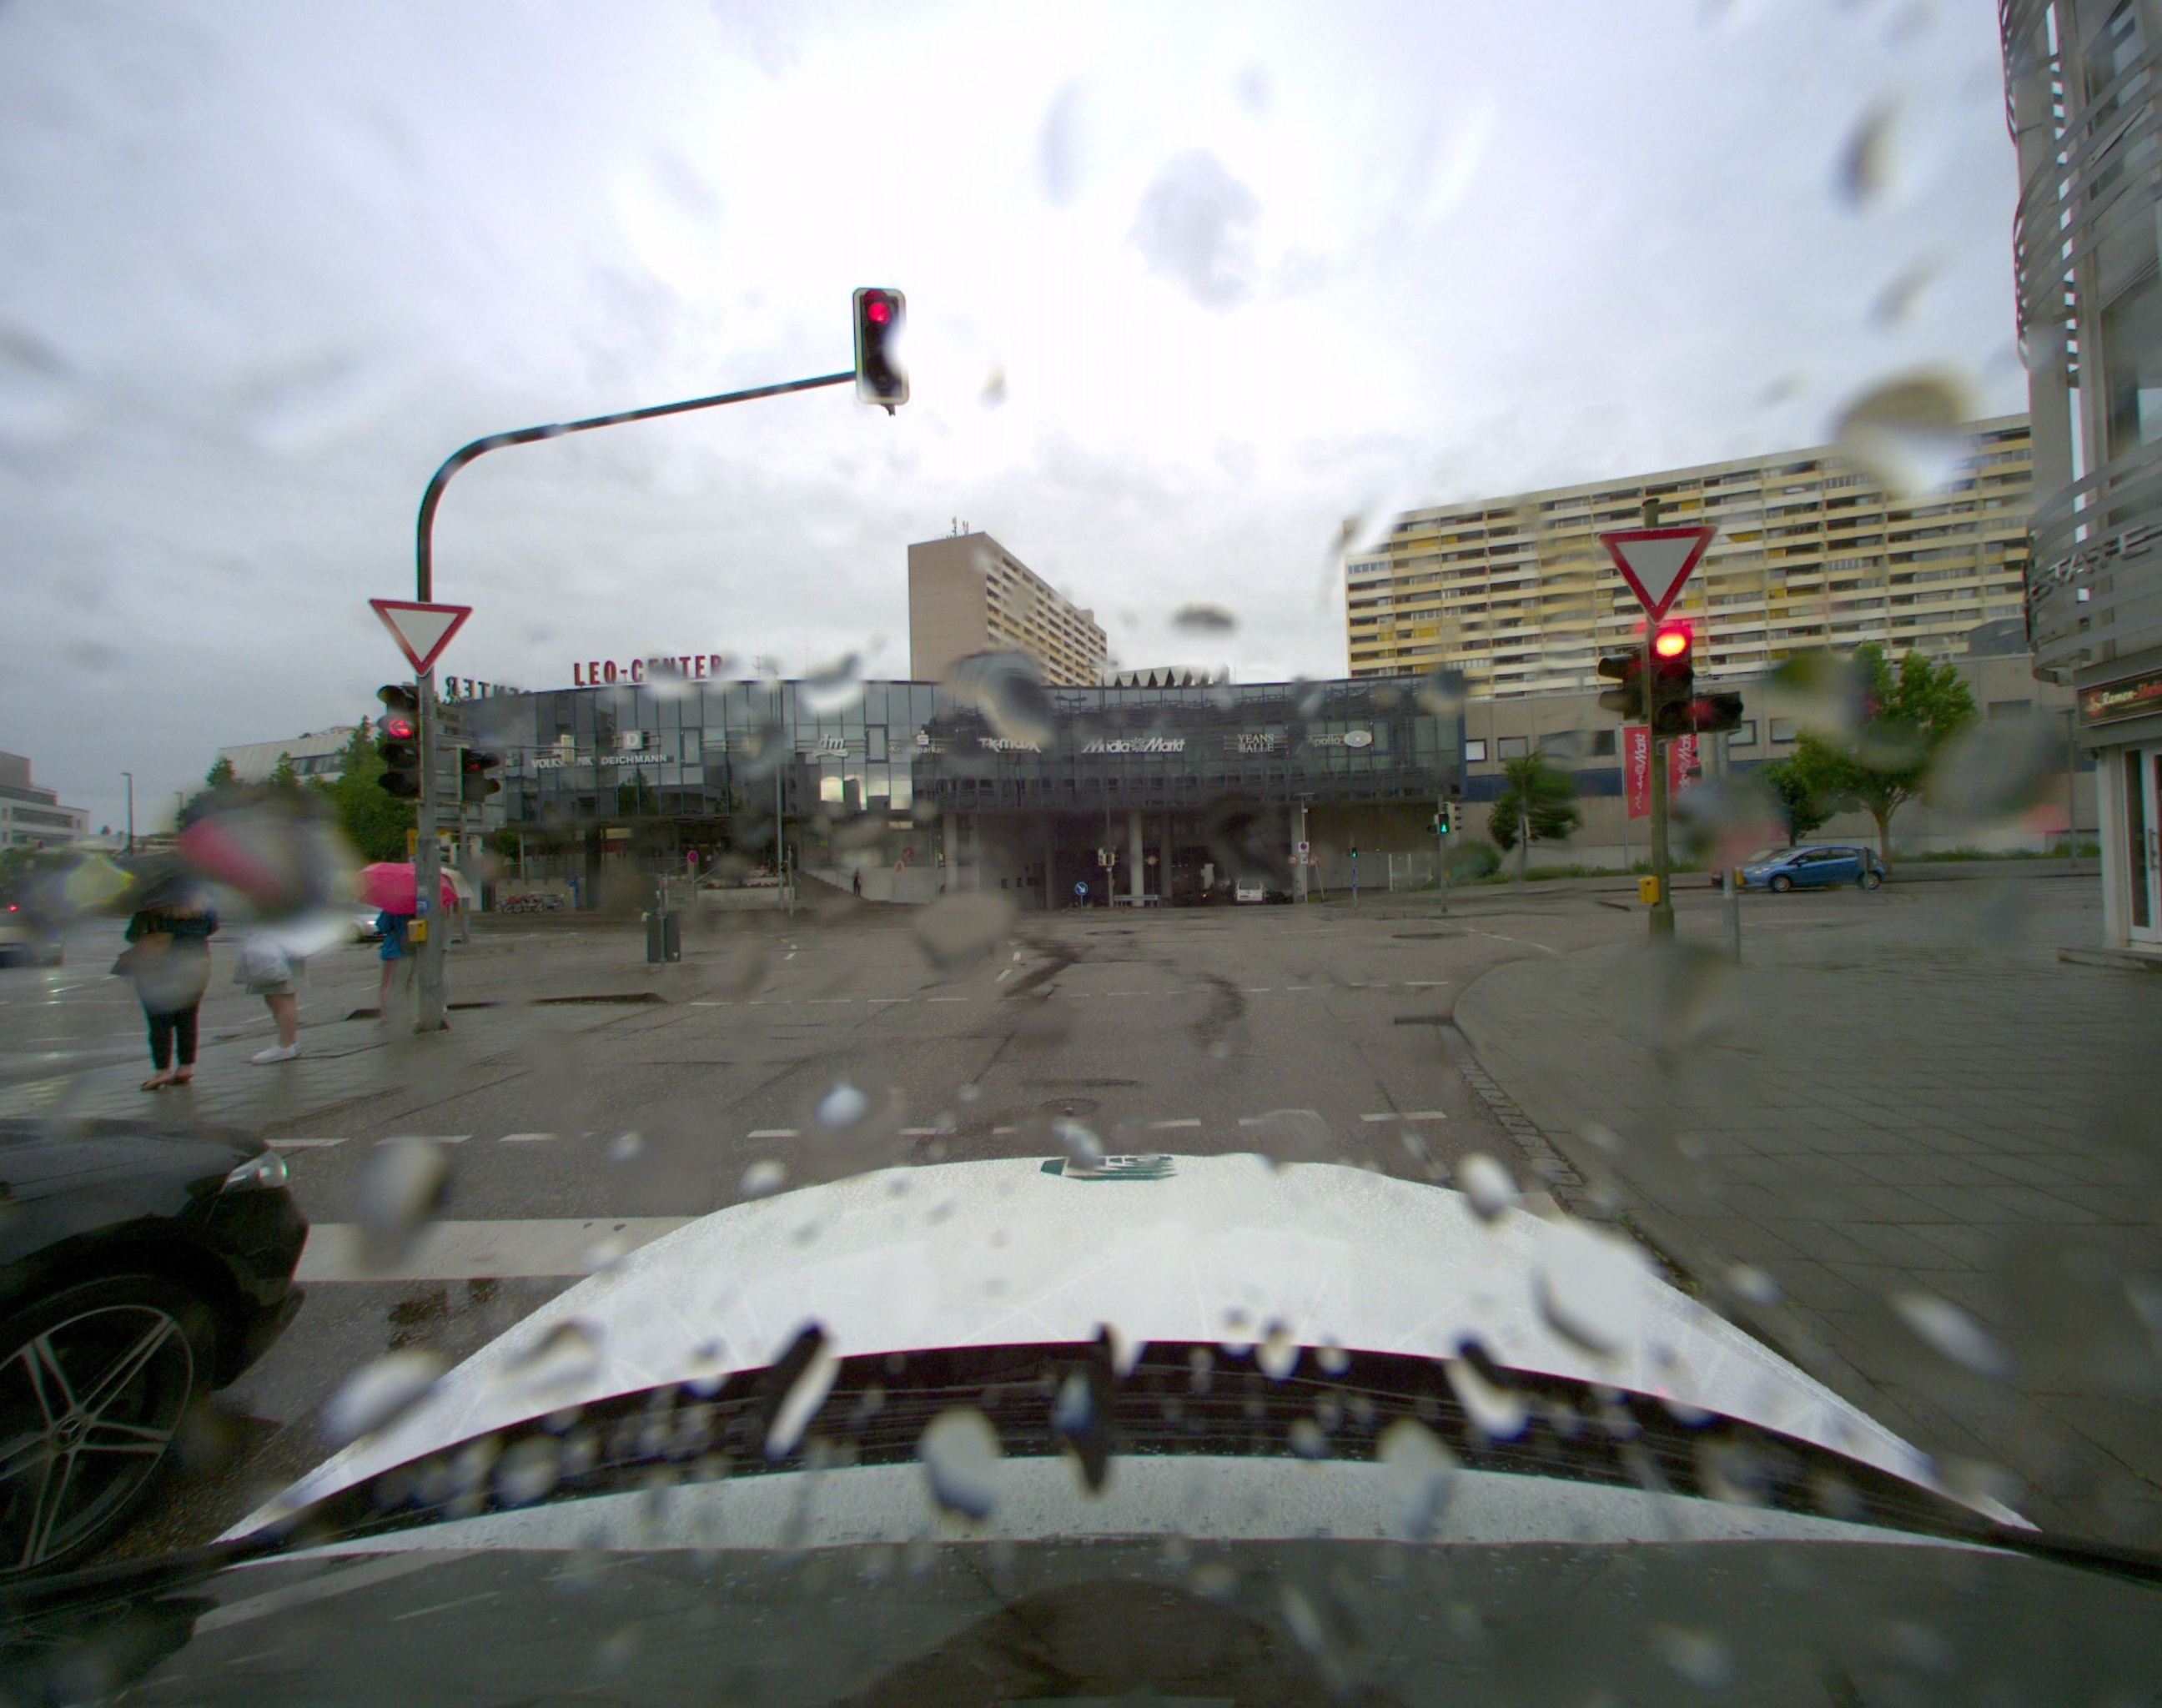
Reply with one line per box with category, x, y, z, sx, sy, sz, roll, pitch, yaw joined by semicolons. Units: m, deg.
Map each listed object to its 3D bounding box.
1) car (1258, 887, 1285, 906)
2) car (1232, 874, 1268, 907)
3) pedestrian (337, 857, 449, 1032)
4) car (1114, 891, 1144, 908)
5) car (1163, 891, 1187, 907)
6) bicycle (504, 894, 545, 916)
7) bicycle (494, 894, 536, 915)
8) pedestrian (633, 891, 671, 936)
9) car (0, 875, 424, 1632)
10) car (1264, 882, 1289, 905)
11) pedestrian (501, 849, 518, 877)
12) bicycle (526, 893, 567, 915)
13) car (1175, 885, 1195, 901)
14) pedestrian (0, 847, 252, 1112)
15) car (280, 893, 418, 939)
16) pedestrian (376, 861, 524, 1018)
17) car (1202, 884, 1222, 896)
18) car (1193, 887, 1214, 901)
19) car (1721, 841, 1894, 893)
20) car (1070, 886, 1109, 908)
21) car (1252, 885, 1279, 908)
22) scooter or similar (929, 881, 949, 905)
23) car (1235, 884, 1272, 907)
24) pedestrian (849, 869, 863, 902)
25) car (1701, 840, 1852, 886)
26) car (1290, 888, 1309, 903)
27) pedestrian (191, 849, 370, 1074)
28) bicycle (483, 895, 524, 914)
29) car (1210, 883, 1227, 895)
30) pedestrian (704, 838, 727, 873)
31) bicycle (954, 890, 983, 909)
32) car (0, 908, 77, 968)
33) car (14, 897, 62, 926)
car;15.390;3.460;65.637;1.765;1.400;4.017;-3;-4;17
car;10.109;2.154;48.514;1.912;1.798;4.310;-2;-3;13
pedestrian;-7.146;0.899;8.464;0.665;1.685;0.811;-4;-2;45
car;4.431;4.127;74.430;1.756;1.464;3.892;-3;-4;17
car;10.532;4.993;91.135;1.899;1.588;3.957;-3;-2;17
bicycle;-31.678;2.873;46.382;0.640;1.042;1.865;-3;1;20
bicycle;-32.388;2.885;46.627;0.621;1.033;1.865;-3;1;20
pedestrian;-16.017;2.213;30.411;0.940;1.623;0.814;-3;-1;25
car;-3.000;0.825;0.616;1.657;1.481;4.094;0;0;0
car;16.924;3.398;70.467;1.777;1.771;4.017;-3;-2;17
pedestrian;-35.234;0.549;50.217;0.592;1.714;0.658;-1;-1;25
bicycle;-30.090;2.816;45.904;0.625;1.023;1.864;-3;1;20
car;12.264;4.522;95.909;1.823;1.728;4.014;-2;-1;13
pedestrian;-6.976;0.845;6.024;0.956;1.736;0.829;-2;-2;-28
car;-25.666;2.157;28.586;3.949;1.441;1.754;-2;-1;16
pedestrian;-7.167;0.932;9.295;0.932;1.677;0.917;-2;-1;1
car;17.607;4.861;109.208;1.978;1.464;4.018;-3;-2;17
car;15.260;4.972;101.620;1.978;1.664;4.018;-1;-1;17
car;23.402;0.432;26.386;3.819;1.397;1.684;-3;-2;10
car;0.700;3.336;62.624;1.877;1.470;4.044;-2;-5;18
car;13.819;3.176;60.780;1.620;1.612;4.280;-3;-4;16
scooter or similar;-8.471;2.330;48.539;1.167;1.373;0.487;0;-1;-13
car;11.961;2.865;56.266;1.742;1.464;3.963;-3;-5;23
pedestrian;-13.128;1.833;47.529;0.655;1.908;0.593;-1;-1;-6
car;24.853;0.325;29.237;3.660;1.395;1.750;-3;-2;11
car;24.282;4.565;90.422;1.874;1.491;3.856;-1;-1;16
pedestrian;-6.861;0.850;6.984;1.123;1.744;0.865;-3;-1;34
bicycle;-33.107;2.886;46.689;0.529;0.951;1.865;-1;2;23
car;19.323;4.936;114.251;1.979;1.464;4.016;-3;-2;15
pedestrian;-21.166;0.097;47.221;0.825;2.014;0.954;0;-1;6
bicycle;-6.722;2.725;48.781;1.591;1.018;0.448;5;-3;-29
car;-28.208;2.165;21.045;5.079;1.414;2.136;-3;-2;31
car;-75.154;4.093;58.682;4.085;1.896;2.062;-1;-1;38
